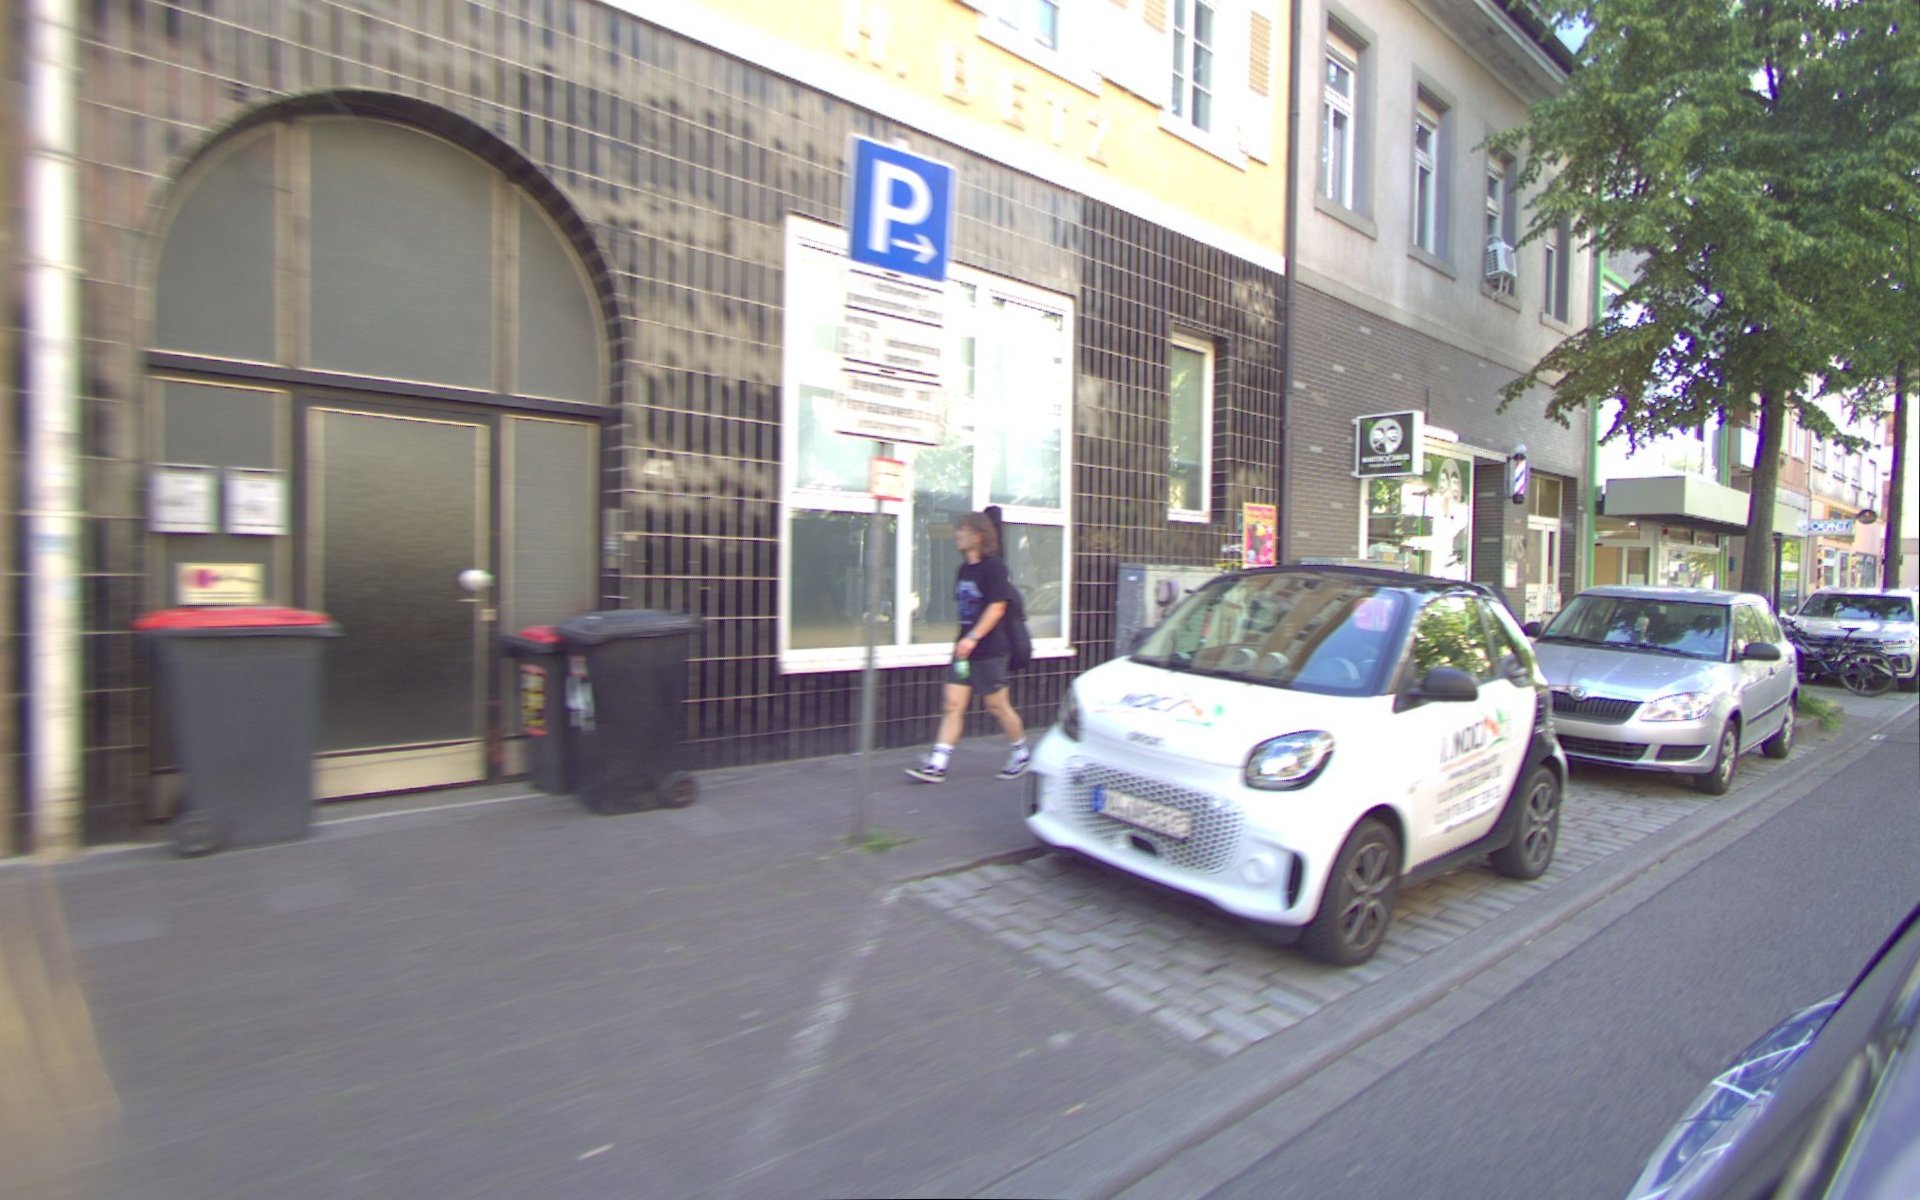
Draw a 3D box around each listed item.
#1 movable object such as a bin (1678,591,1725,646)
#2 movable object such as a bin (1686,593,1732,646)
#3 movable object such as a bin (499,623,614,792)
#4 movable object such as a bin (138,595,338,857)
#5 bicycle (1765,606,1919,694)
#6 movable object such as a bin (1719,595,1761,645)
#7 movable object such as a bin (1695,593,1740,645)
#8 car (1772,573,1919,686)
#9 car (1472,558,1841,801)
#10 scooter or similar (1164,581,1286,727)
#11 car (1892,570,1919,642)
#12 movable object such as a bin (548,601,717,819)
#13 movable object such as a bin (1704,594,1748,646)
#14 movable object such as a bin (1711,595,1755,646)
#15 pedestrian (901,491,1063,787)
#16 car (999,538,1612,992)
[{"bbox_3d":[15.193,0.360,20.737,0.643,1.077,0.615,0,2,-40],"label":"movable object such as a bin"},{"bbox_3d":[15.659,0.395,21.152,0.579,1.077,0.615,0,2,-40],"label":"movable object such as a bin"},{"bbox_3d":[-2.319,0.589,5.810,0.470,0.871,0.512,0,2,-40],"label":"movable object such as a bin"},{"bbox_3d":[-3.338,0.527,4.673,0.709,1.052,0.590,0,4,-40],"label":"movable object such as a bin"},{"bbox_3d":[12.893,0.698,14.770,0.601,1.024,1.626,0,6,-42],"label":"bicycle"},{"bbox_3d":[17.499,0.430,22.704,0.579,1.077,0.612,0,2,-40],"label":"movable object such as a bin"},{"bbox_3d":[16.113,0.395,21.538,0.579,1.077,0.615,0,2,-40],"label":"movable object such as a bin"},{"bbox_3d":[14.981,0.413,16.580,4.161,1.545,1.887,0,4,-42],"label":"car"},{"bbox_3d":[6.199,0.503,8.809,4.162,1.547,1.617,0,5,-42],"label":"car"},{"bbox_3d":[2.365,0.449,8.979,1.147,1.201,0.400,0,4,-40],"label":"scooter or similar"},{"bbox_3d":[25.058,0.196,25.336,4.438,1.709,1.998,0,5,-42],"label":"car"},{"bbox_3d":[-1.777,0.551,5.489,0.709,1.052,0.523,0,4,-40],"label":"movable object such as a bin"},{"bbox_3d":[16.587,0.417,21.924,0.579,1.077,0.615,0,2,-40],"label":"movable object such as a bin"},{"bbox_3d":[17.036,0.436,22.310,0.579,1.077,0.615,0,2,-40],"label":"movable object such as a bin"},{"bbox_3d":[0.141,0.212,6.568,0.757,1.786,0.624,0,4,-40],"label":"pedestrian"},{"bbox_3d":[1.860,0.529,5.121,3.008,1.547,1.617,-1,4,-42],"label":"car"}]
